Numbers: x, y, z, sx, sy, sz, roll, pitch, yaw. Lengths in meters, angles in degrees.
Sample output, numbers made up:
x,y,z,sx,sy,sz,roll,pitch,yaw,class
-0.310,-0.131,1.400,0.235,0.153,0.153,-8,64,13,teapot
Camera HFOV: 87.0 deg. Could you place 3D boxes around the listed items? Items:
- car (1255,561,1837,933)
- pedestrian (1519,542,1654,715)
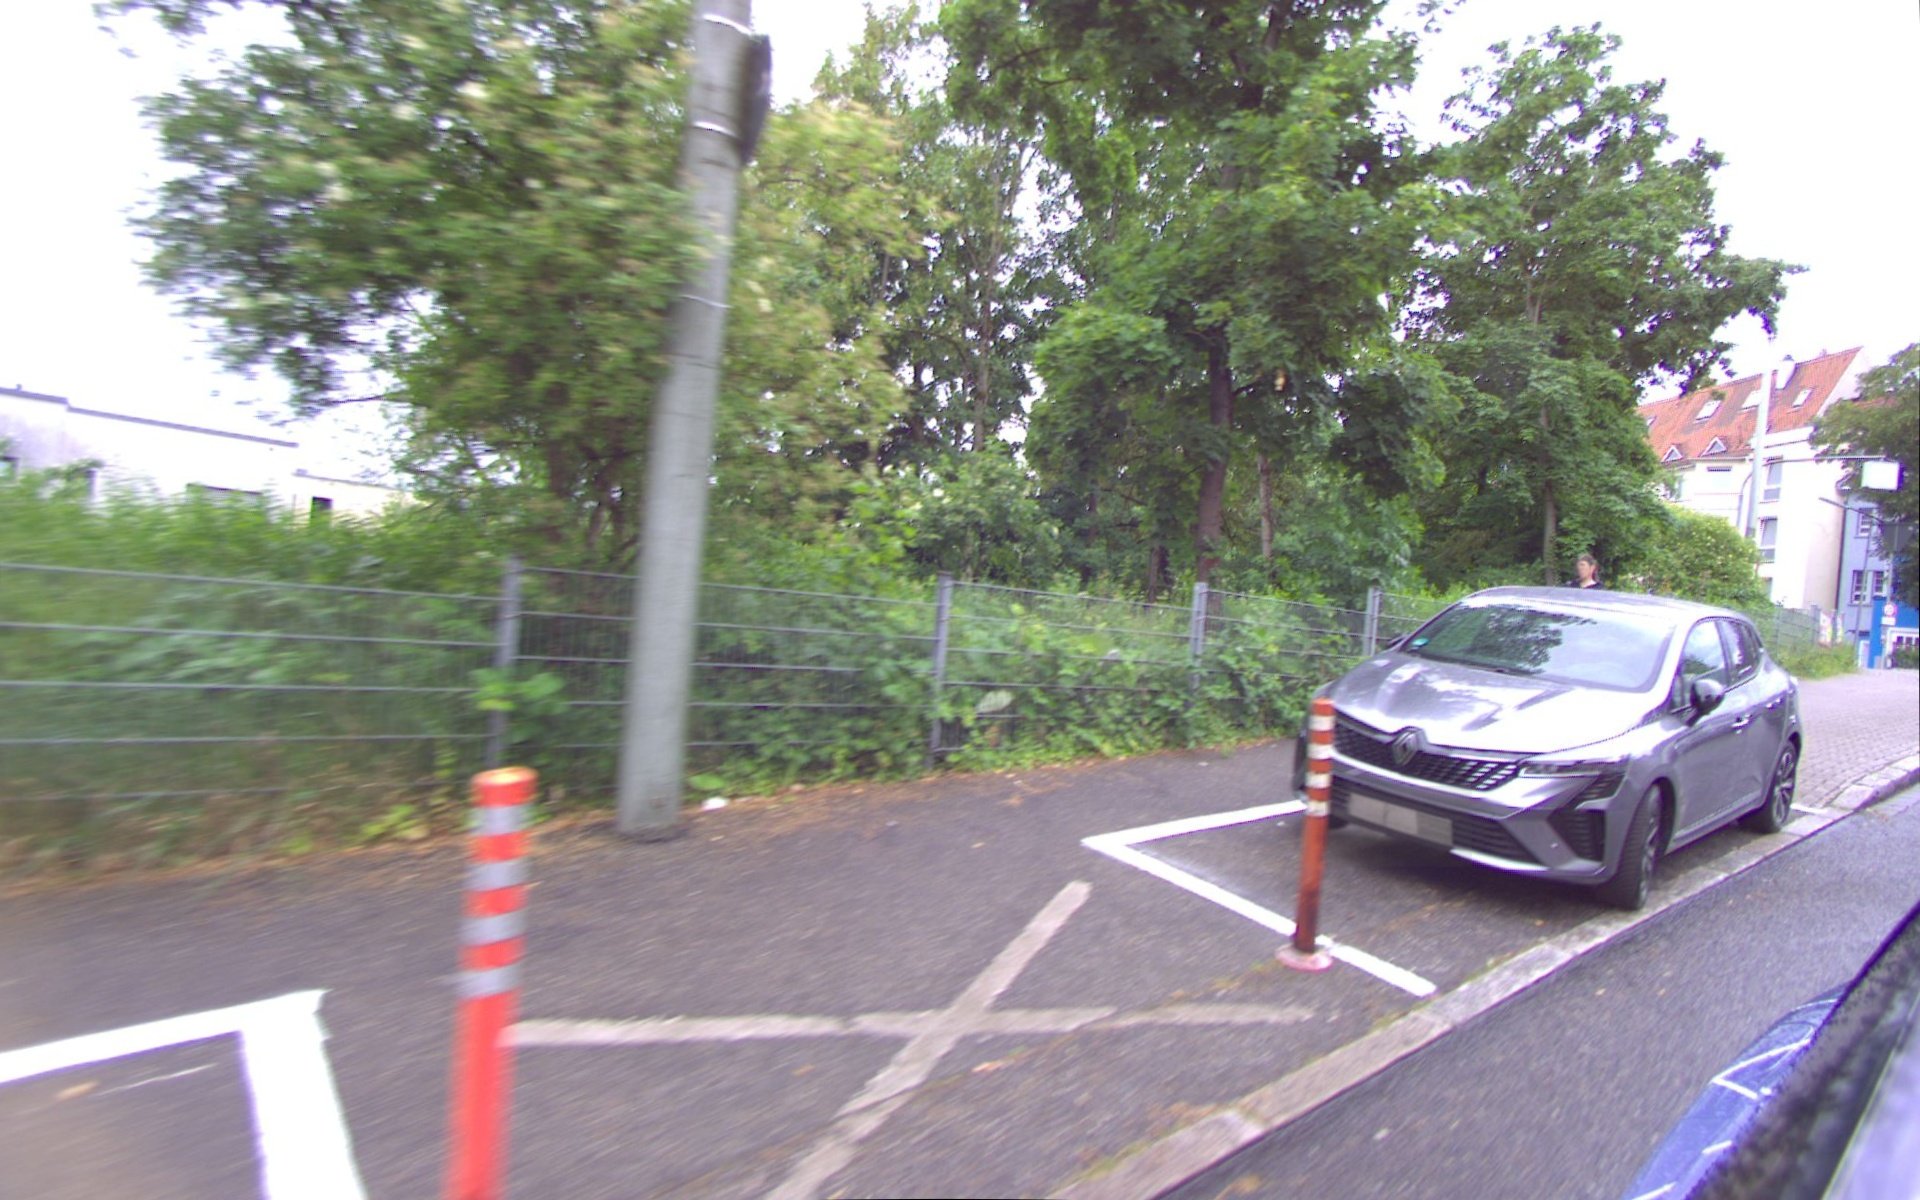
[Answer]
x,y,z,sx,sy,sz,roll,pitch,yaw,class
3.617,0.573,6.009,3.744,1.420,1.655,-1,7,-39,car
6.328,0.256,10.230,0.947,1.624,0.768,1,4,-37,pedestrian
